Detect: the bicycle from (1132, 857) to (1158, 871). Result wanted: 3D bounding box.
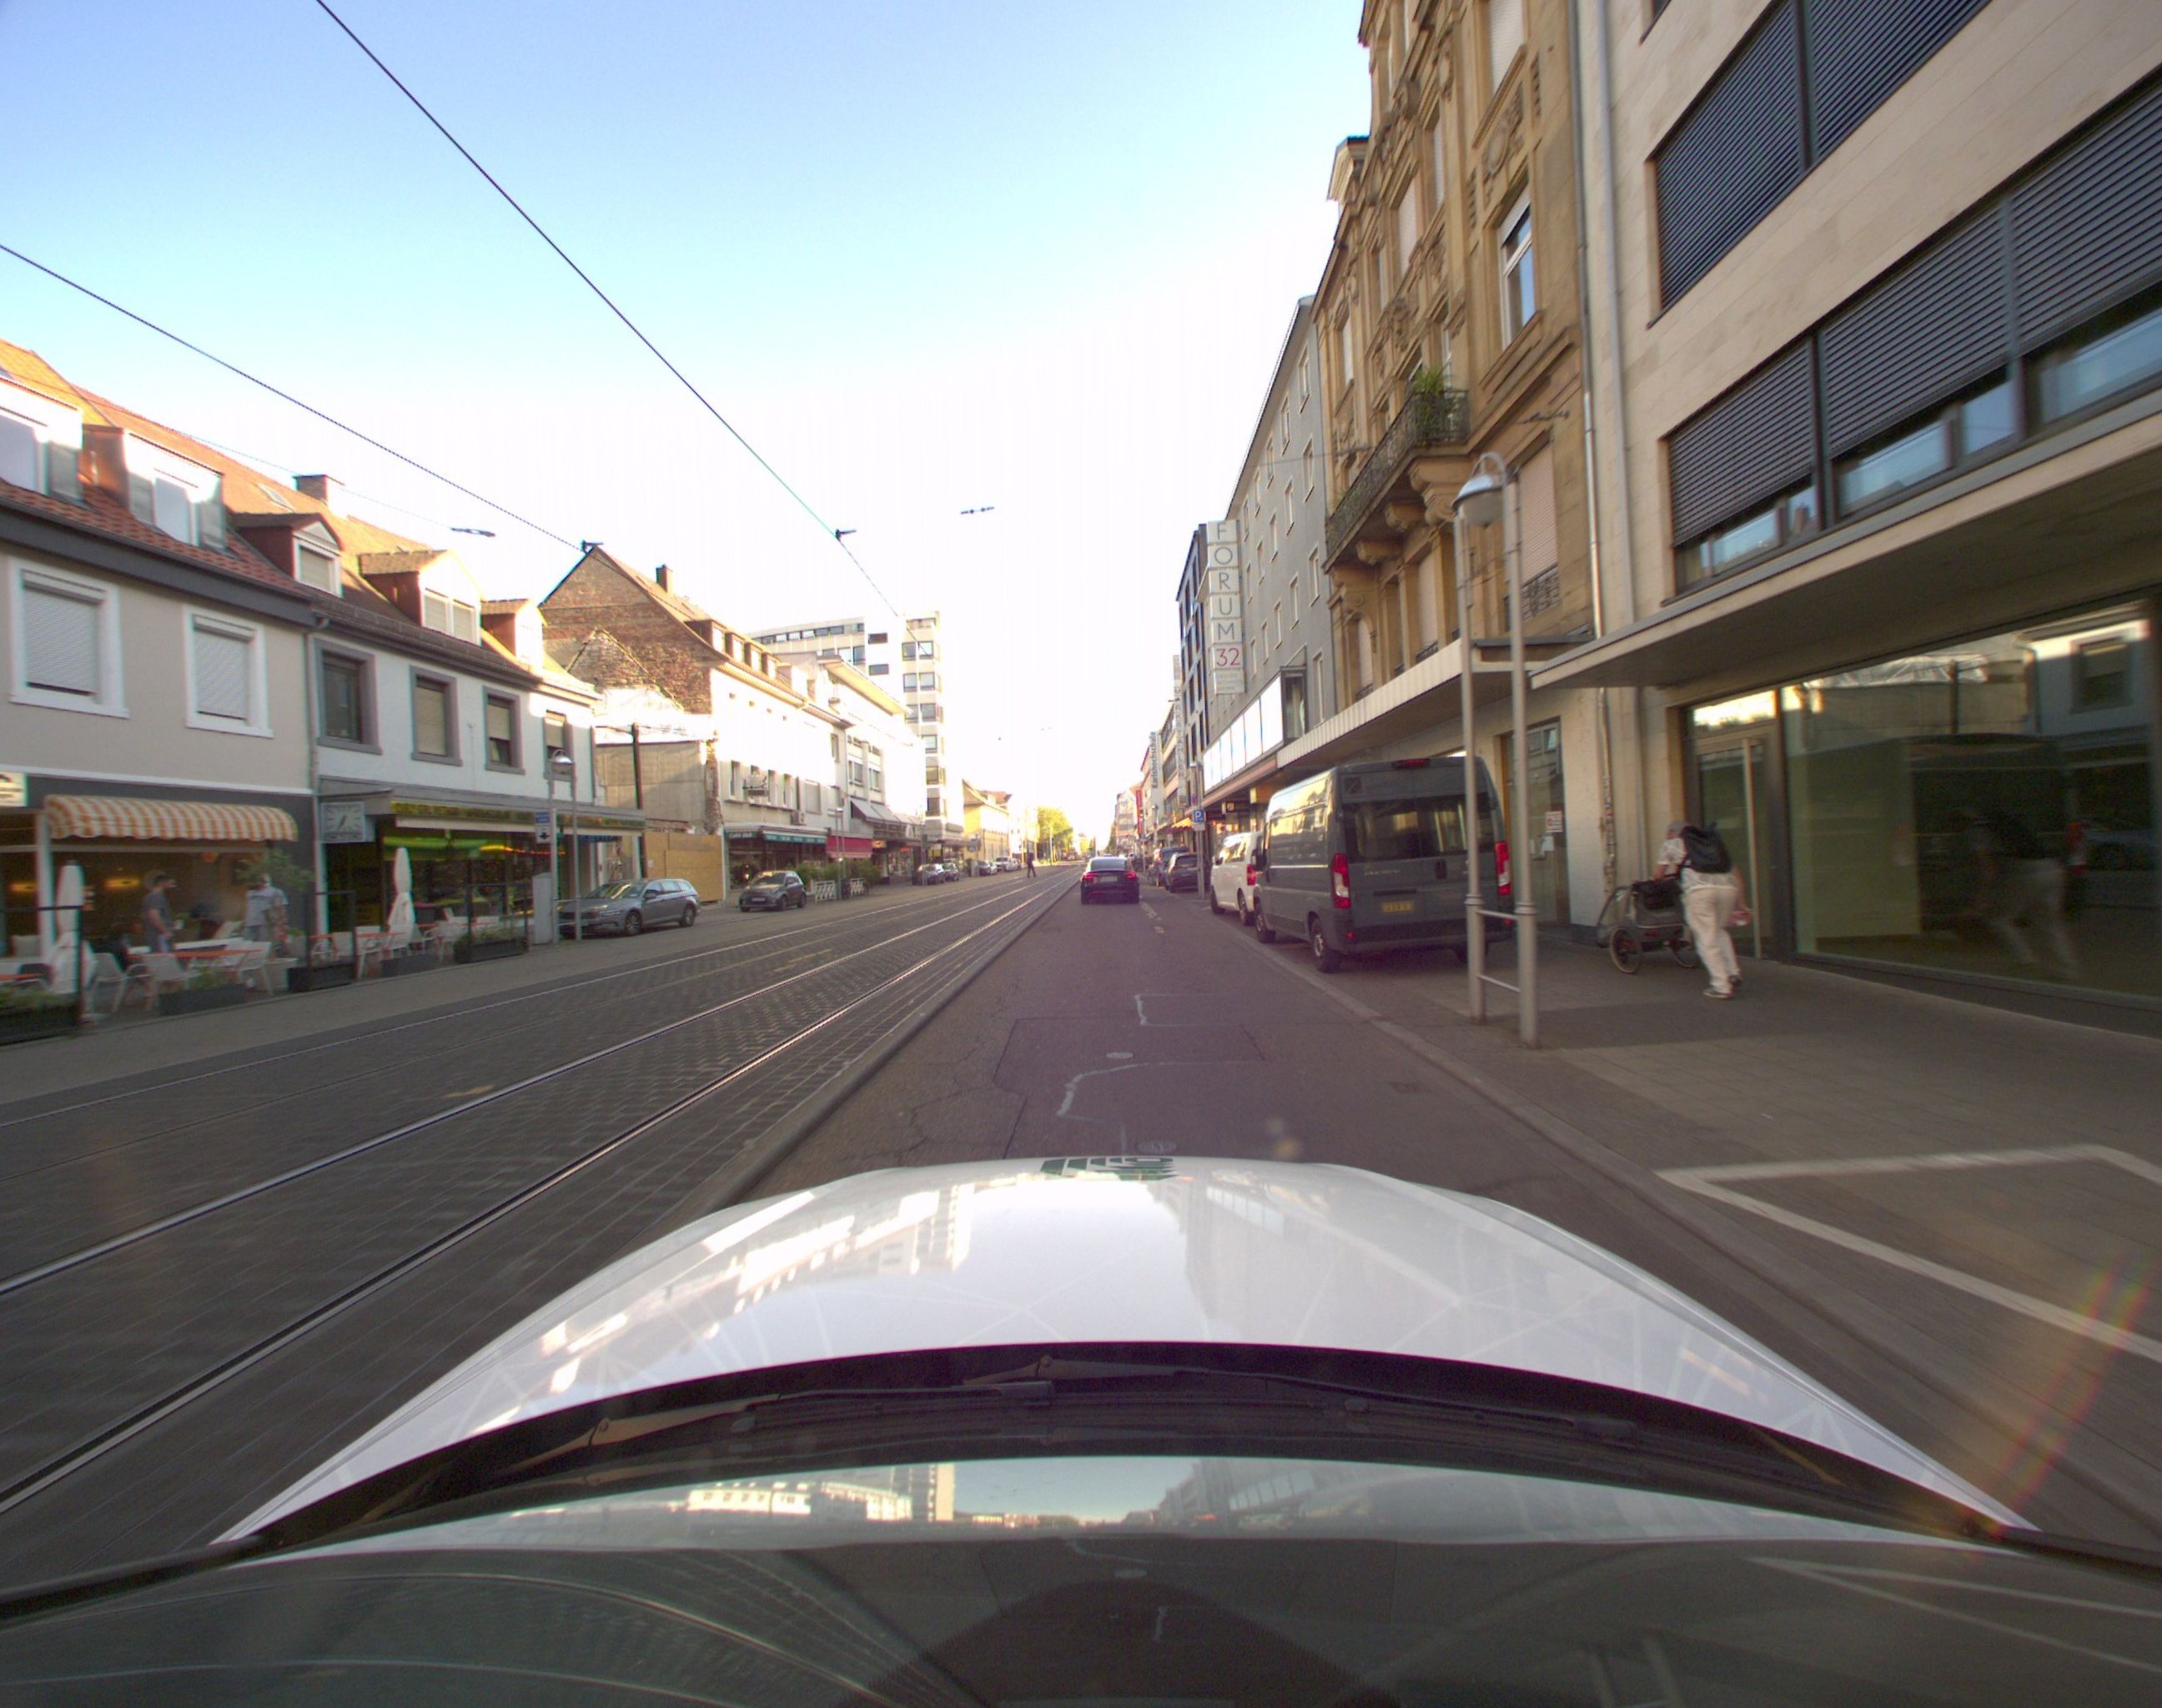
[{"bbox_3d":[5.522,0.843,70.217,2.153,1.097,0.686,-3,0,-1],"label":"bicycle"}]

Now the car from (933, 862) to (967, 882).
[{"bbox_3d":[-10.684,1.431,66.544,1.761,1.508,3.866,-3,0,5],"label":"car"}]

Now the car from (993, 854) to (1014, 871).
[{"bbox_3d":[-9.785,1.043,103.111,2.001,1.961,4.726,-3,0,2],"label":"car"}]

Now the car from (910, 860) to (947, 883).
[{"bbox_3d":[-11.286,1.266,60.419,1.762,1.508,3.867,-3,0,3],"label":"car"}]

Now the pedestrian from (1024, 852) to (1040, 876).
[{"bbox_3d":[-3.786,0.774,62.727,0.764,1.849,0.833,-3,0,32],"label":"pedestrian"}]

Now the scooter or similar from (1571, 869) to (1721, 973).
[{"bbox_3d":[5.793,0.649,8.439,0.591,0.936,1.298,-4,0,0],"label":"scooter or similar"}]

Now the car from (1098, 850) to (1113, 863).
[{"bbox_3d":[3.641,0.316,119.347,2.077,1.870,3.755,-2,0,2],"label":"car"}]

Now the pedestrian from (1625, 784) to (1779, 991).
[{"bbox_3d":[5.591,0.285,7.390,0.554,1.714,0.955,-4,0,0],"label":"pedestrian"}]

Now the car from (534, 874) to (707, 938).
[{"bbox_3d":[-12.468,1.340,22.508,1.986,1.532,4.757,-1,-1,1],"label":"car"}]

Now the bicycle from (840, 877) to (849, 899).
[{"bbox_3d":[-11.362,1.616,39.182,0.369,1.002,1.596,-2,0,-16],"label":"bicycle"}]

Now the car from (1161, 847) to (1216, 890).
[{"bbox_3d":[4.176,0.531,32.012,1.745,1.499,3.756,-3,0,2],"label":"car"}]

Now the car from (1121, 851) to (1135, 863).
[{"bbox_3d":[7.310,0.514,127.535,1.986,1.753,4.001,-2,-1,2],"label":"car"}]

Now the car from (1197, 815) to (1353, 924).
[{"bbox_3d":[4.120,0.293,18.183,2.152,1.926,4.615,-5,0,-1],"label":"car"}]

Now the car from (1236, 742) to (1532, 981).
[{"bbox_3d":[3.825,0.077,11.608,2.164,2.461,5.363,-4,0,1],"label":"car"}]

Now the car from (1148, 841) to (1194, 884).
[{"bbox_3d":[4.175,0.369,38.155,1.814,1.870,3.756,-2,0,2],"label":"car"}]

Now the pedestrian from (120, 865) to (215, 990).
[{"bbox_3d":[-13.934,1.098,12.440,0.655,1.823,0.641,-2,0,-4],"label":"pedestrian"}]

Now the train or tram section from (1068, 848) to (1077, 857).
[{"bbox_3d":[-2.503,-0.364,244.337,1.984,2.634,6.810,-2,0,5],"label":"train or tram section"}]

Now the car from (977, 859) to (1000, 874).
[{"bbox_3d":[-10.123,1.395,89.729,1.762,1.508,3.976,-3,0,4],"label":"car"}]

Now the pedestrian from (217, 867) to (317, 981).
[{"bbox_3d":[-13.330,1.121,13.354,0.883,1.775,0.688,-2,0,0],"label":"pedestrian"}]

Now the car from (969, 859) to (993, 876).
[{"bbox_3d":[-10.295,1.344,83.781,1.710,1.571,3.853,-3,0,4],"label":"car"}]

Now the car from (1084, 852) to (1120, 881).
[{"bbox_3d":[1.094,0.657,43.120,1.756,1.418,4.354,-2,-1,1],"label":"car"}]

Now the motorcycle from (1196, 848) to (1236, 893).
[{"bbox_3d":[4.378,0.542,26.562,0.810,1.315,2.634,-6,-1,2],"label":"motorcycle"}]

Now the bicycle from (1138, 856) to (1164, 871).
[{"bbox_3d":[5.967,0.806,69.323,2.153,1.097,0.686,-3,0,-1],"label":"bicycle"}]

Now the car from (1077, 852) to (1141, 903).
[{"bbox_3d":[0.930,0.701,26.556,1.862,1.427,4.367,-2,0,2],"label":"car"}]

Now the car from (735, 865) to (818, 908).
[{"bbox_3d":[-11.975,1.249,32.263,1.668,1.546,3.747,-1,0,4],"label":"car"}]

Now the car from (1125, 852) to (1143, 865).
[{"bbox_3d":[6.414,0.537,99.038,1.986,1.543,4.001,-2,-1,2],"label":"car"}]
